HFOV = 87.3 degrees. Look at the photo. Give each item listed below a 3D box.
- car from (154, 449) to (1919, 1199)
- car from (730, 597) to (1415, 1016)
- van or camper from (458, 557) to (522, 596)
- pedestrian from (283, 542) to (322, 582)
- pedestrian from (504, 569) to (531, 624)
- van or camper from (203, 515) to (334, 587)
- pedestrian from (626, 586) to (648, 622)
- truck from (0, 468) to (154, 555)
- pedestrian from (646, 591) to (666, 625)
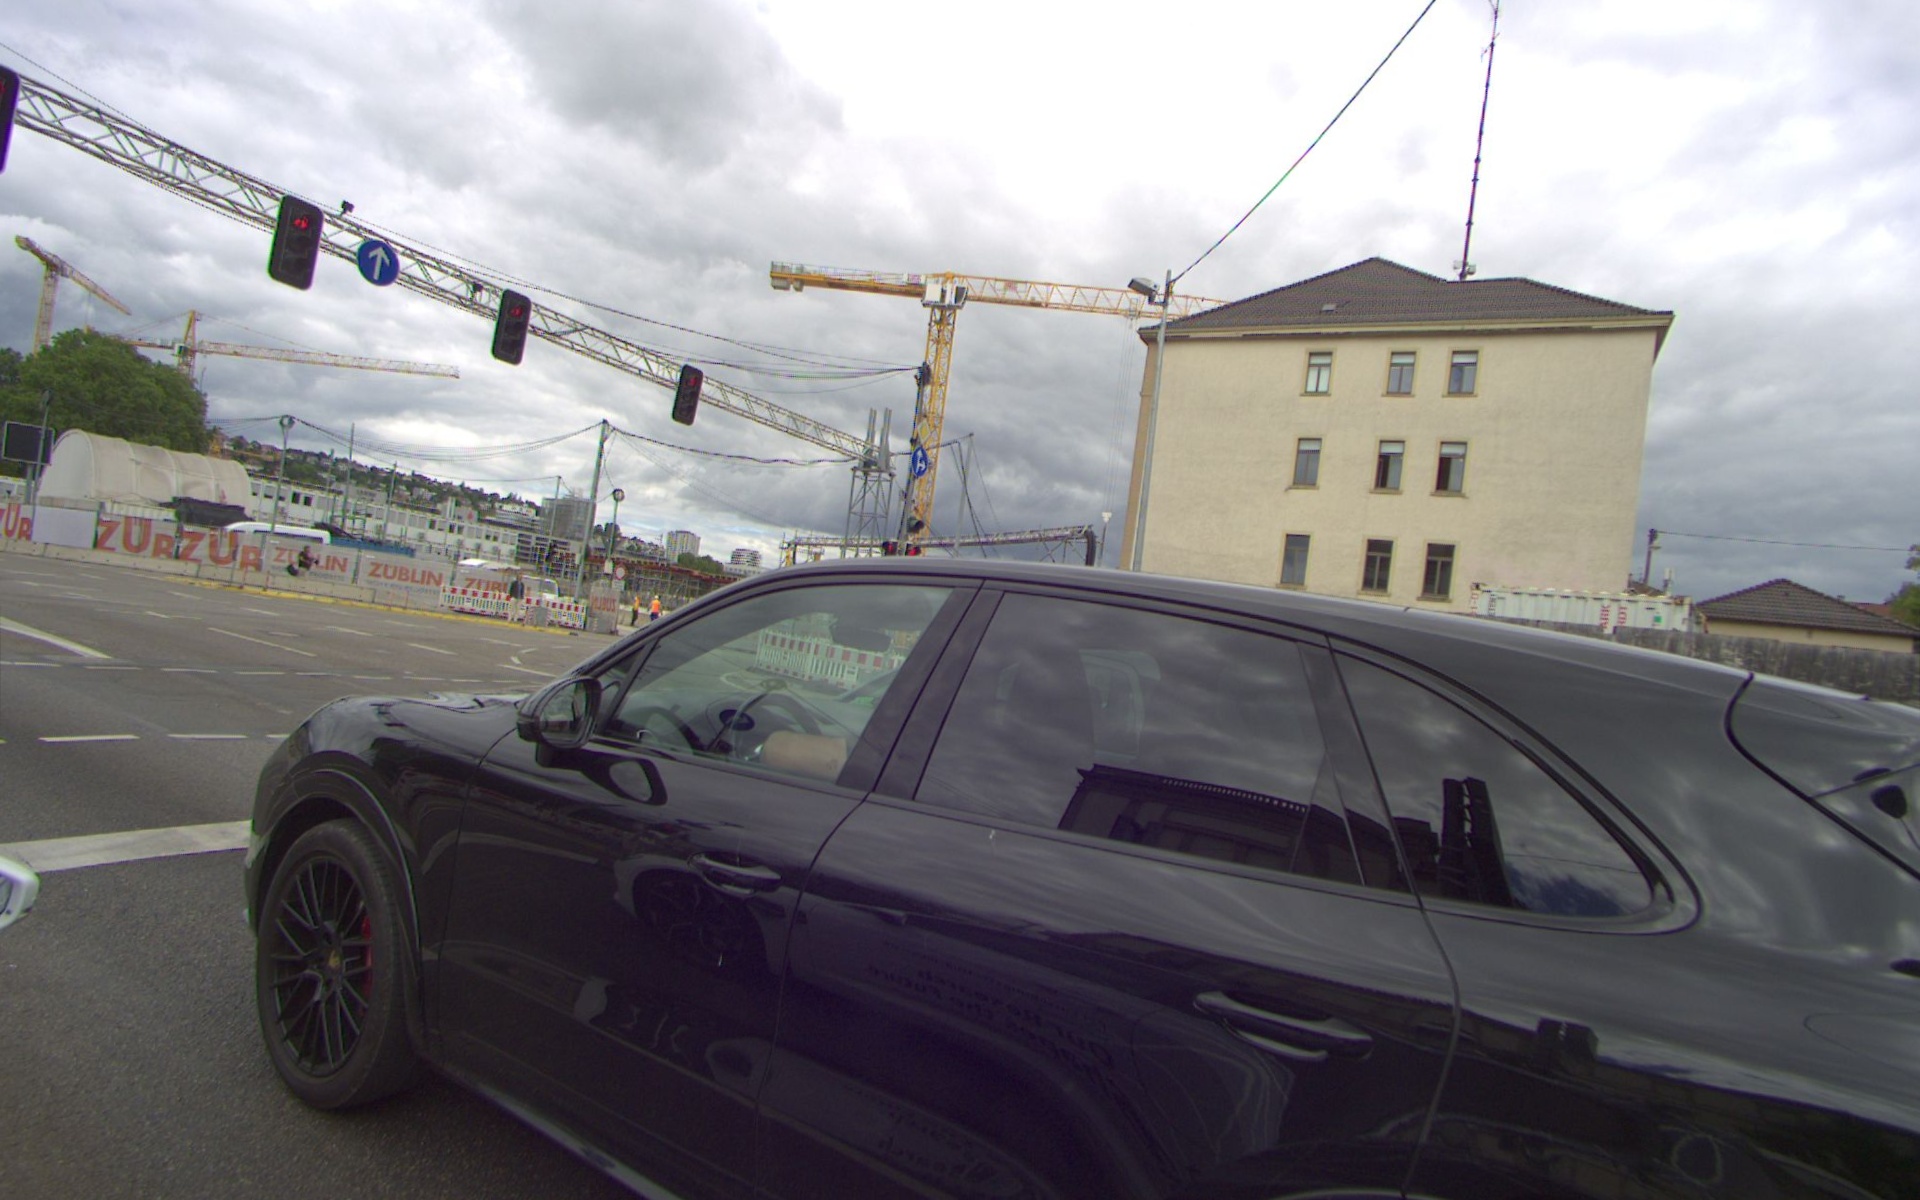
[{"bbox_3d":[0.046,0.713,2.694,4.559,1.705,1.959,7,-2,33],"label":"car"},{"bbox_3d":[0.602,1.041,6.370,3.818,1.561,1.667,7,-2,33],"label":"car"},{"bbox_3d":[-44.200,-2.152,94.768,1.963,2.945,5.304,7,-2,20],"label":"van or camper"},{"bbox_3d":[-25.276,-1.451,38.701,0.891,1.393,0.797,8,-1,-15],"label":"pedestrian"},{"bbox_3d":[-17.174,-0.128,39.076,0.647,2.037,0.513,8,-1,-33],"label":"pedestrian"},{"bbox_3d":[-29.805,-2.073,43.407,4.204,2.384,1.976,10,-3,-44],"label":"van or camper"},{"bbox_3d":[-17.457,0.219,54.380,0.607,1.816,0.654,7,-1,21],"label":"pedestrian"},{"bbox_3d":[-57.895,-5.791,61.923,3.875,4.086,13.089,8,-2,12],"label":"truck"},{"bbox_3d":[-16.239,0.434,53.800,0.508,1.737,0.654,7,-1,21],"label":"pedestrian"}]
